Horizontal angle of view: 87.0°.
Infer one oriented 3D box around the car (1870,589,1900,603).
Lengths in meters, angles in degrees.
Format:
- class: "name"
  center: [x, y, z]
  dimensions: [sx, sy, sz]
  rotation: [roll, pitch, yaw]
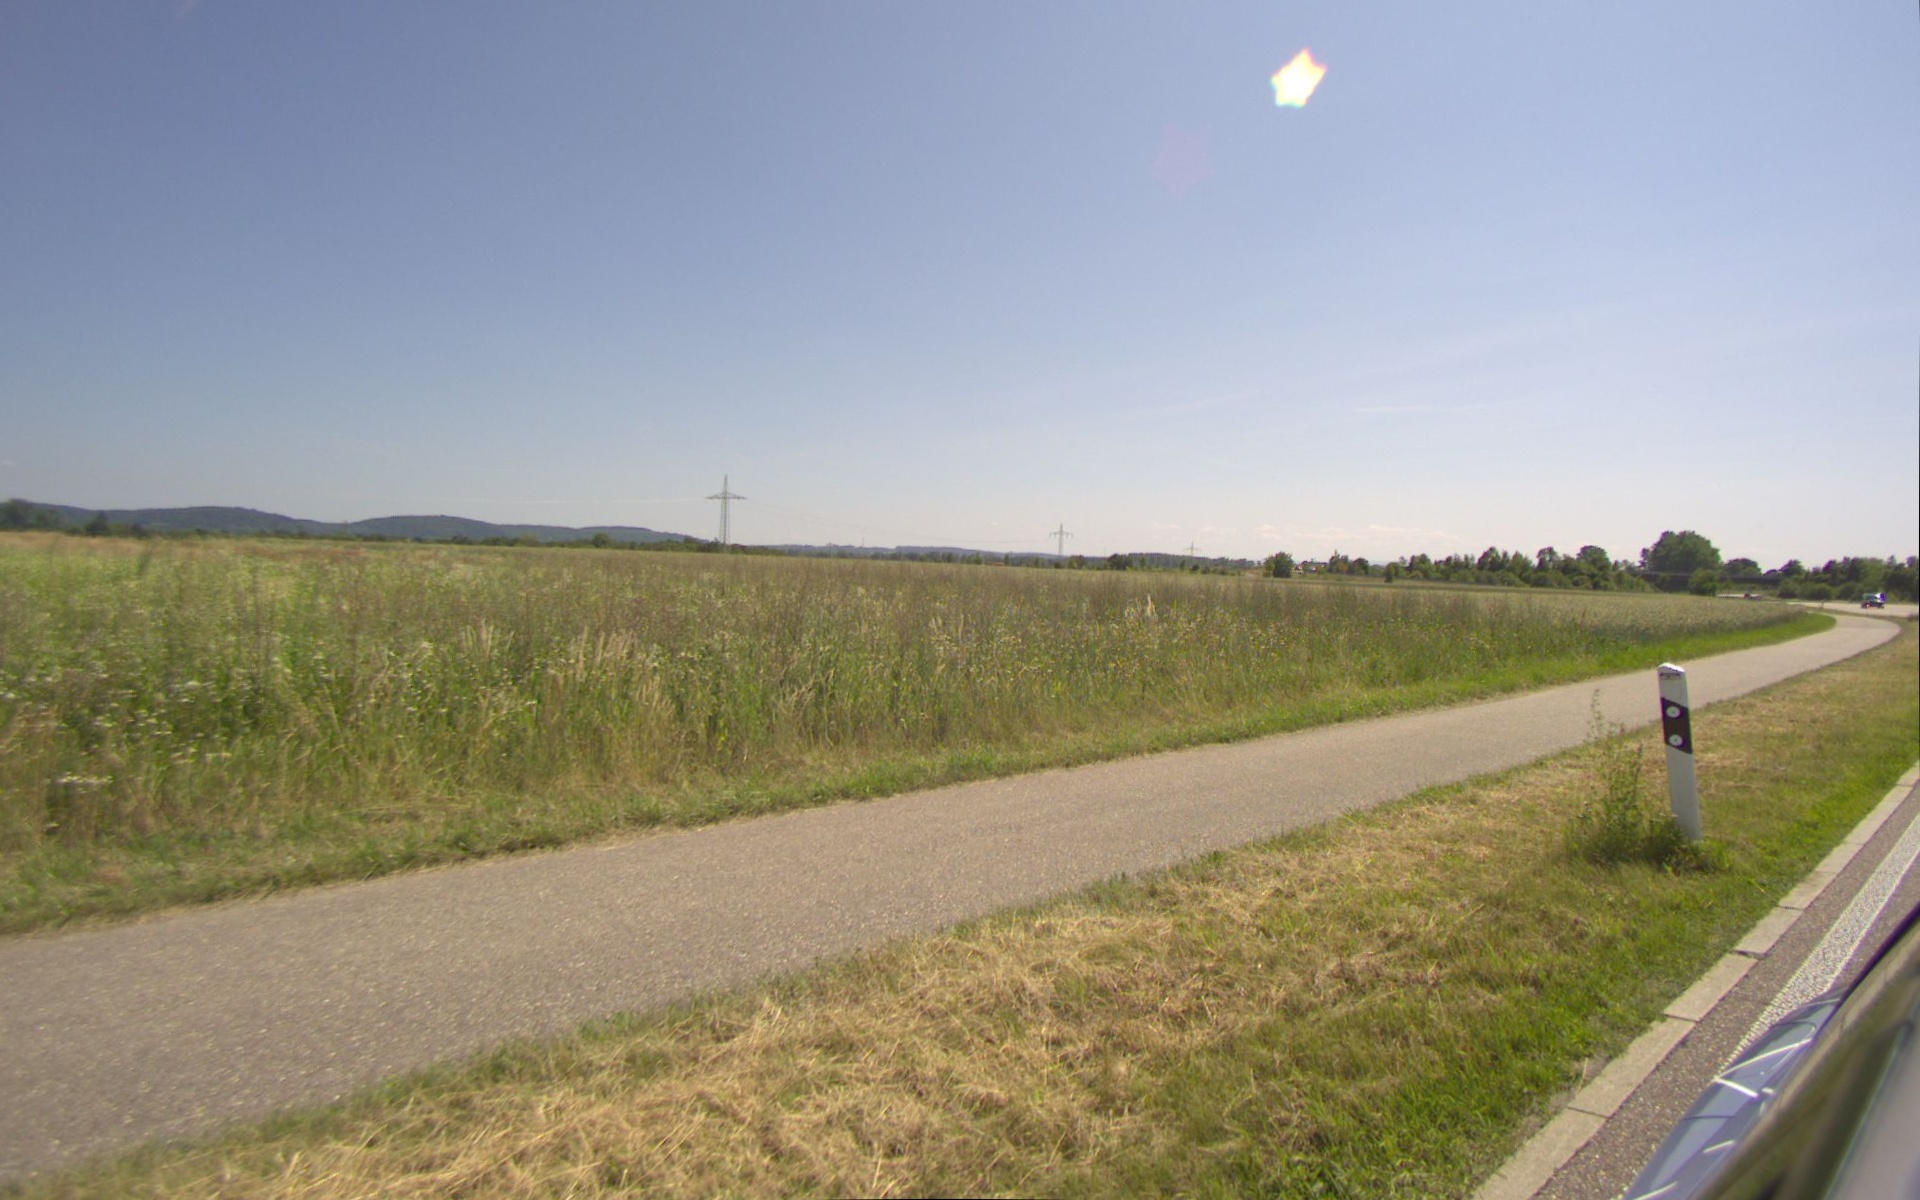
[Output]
- class: "car"
  center: [113.096, -0.541, 123.749]
  dimensions: [1.972, 1.616, 5.334]
  rotation: [1, 1, 35]
